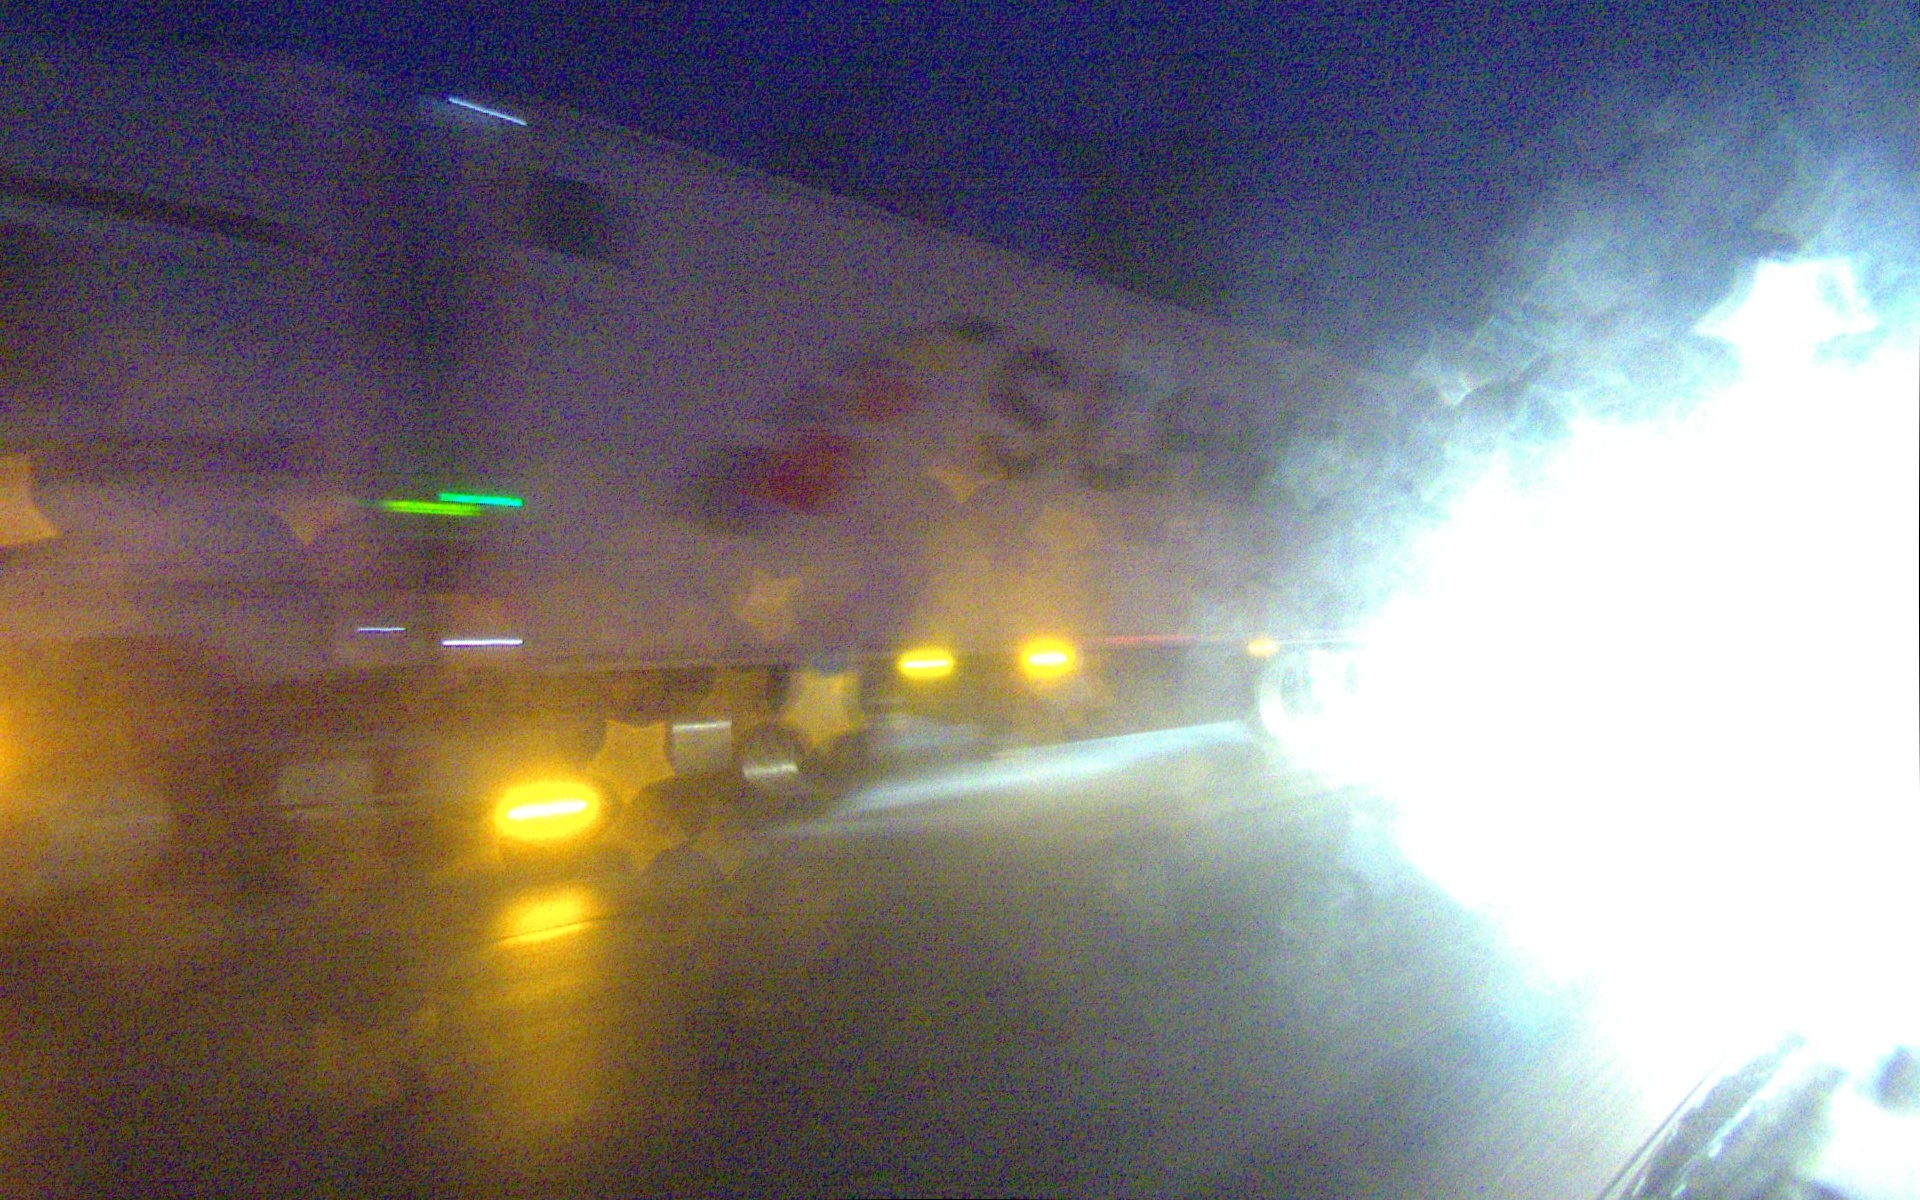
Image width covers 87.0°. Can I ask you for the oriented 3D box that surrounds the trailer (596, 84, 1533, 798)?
[{"bbox_3d":[2.451,-0.974,11.018,11.885,4.265,2.808,0,0,-41],"label":"trailer"}]

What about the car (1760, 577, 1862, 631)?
[{"bbox_3d":[34.083,0.136,40.479,5.308,1.998,2.052,0,2,-39],"label":"car"}]

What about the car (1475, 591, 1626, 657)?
[{"bbox_3d":[14.863,0.560,25.357,4.876,1.505,1.897,1,-1,-42],"label":"car"}]

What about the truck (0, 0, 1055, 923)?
[{"bbox_3d":[-2.953,-0.949,6.307,7.317,4.321,2.808,0,0,-41],"label":"truck"}]

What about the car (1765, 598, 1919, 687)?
[{"bbox_3d":[16.013,0.685,18.284,3.725,1.430,1.615,0,0,-40],"label":"car"}]
